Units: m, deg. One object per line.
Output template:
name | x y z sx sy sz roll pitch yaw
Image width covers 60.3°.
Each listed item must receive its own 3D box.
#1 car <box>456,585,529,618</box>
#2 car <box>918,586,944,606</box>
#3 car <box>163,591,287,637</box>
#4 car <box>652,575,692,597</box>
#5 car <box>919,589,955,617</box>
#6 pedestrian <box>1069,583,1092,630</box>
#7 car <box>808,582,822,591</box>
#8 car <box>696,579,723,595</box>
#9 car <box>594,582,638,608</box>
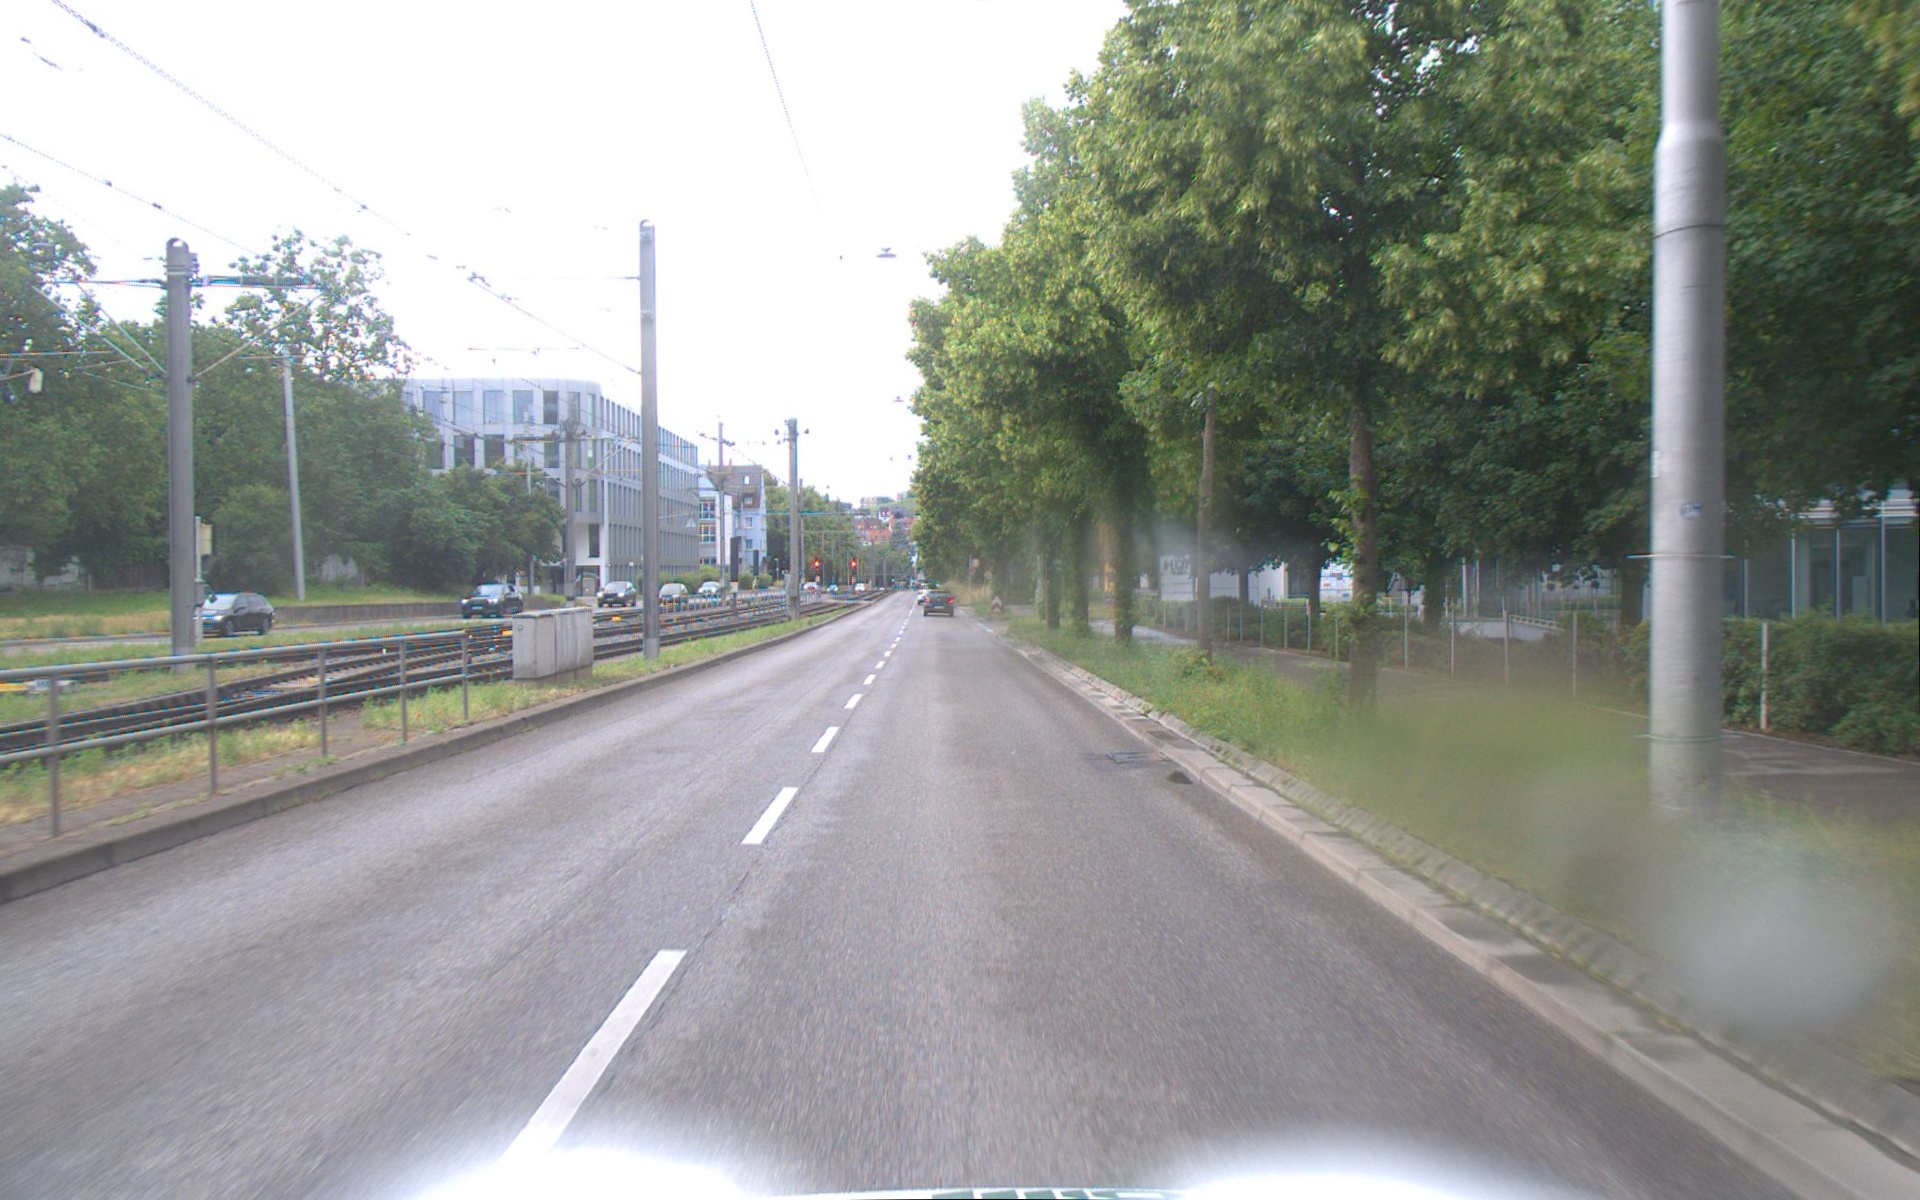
car | -23.460 0.055 83.229 2.046 1.616 5.160 -1 1 2
car | -2.160 -0.310 123.471 1.942 1.466 4.473 -1 1 -1
car | -24.717 0.443 55.802 1.887 1.472 4.684 0 1 3
car | -20.036 -0.978 115.217 1.852 1.512 4.309 -1 1 2
car | -1.259 0.157 90.566 1.942 1.466 4.473 -1 1 -1
pedestrian | 4.782 0.250 65.724 0.809 1.828 0.867 1 0 -1
car | -21.122 -2.020 241.056 1.720 1.265 3.987 -1 1 -1
car | -22.674 -1.196 150.047 1.724 1.422 3.901 -1 1 2
car | -22.812 -0.345 109.842 1.908 1.623 4.847 -1 1 0
